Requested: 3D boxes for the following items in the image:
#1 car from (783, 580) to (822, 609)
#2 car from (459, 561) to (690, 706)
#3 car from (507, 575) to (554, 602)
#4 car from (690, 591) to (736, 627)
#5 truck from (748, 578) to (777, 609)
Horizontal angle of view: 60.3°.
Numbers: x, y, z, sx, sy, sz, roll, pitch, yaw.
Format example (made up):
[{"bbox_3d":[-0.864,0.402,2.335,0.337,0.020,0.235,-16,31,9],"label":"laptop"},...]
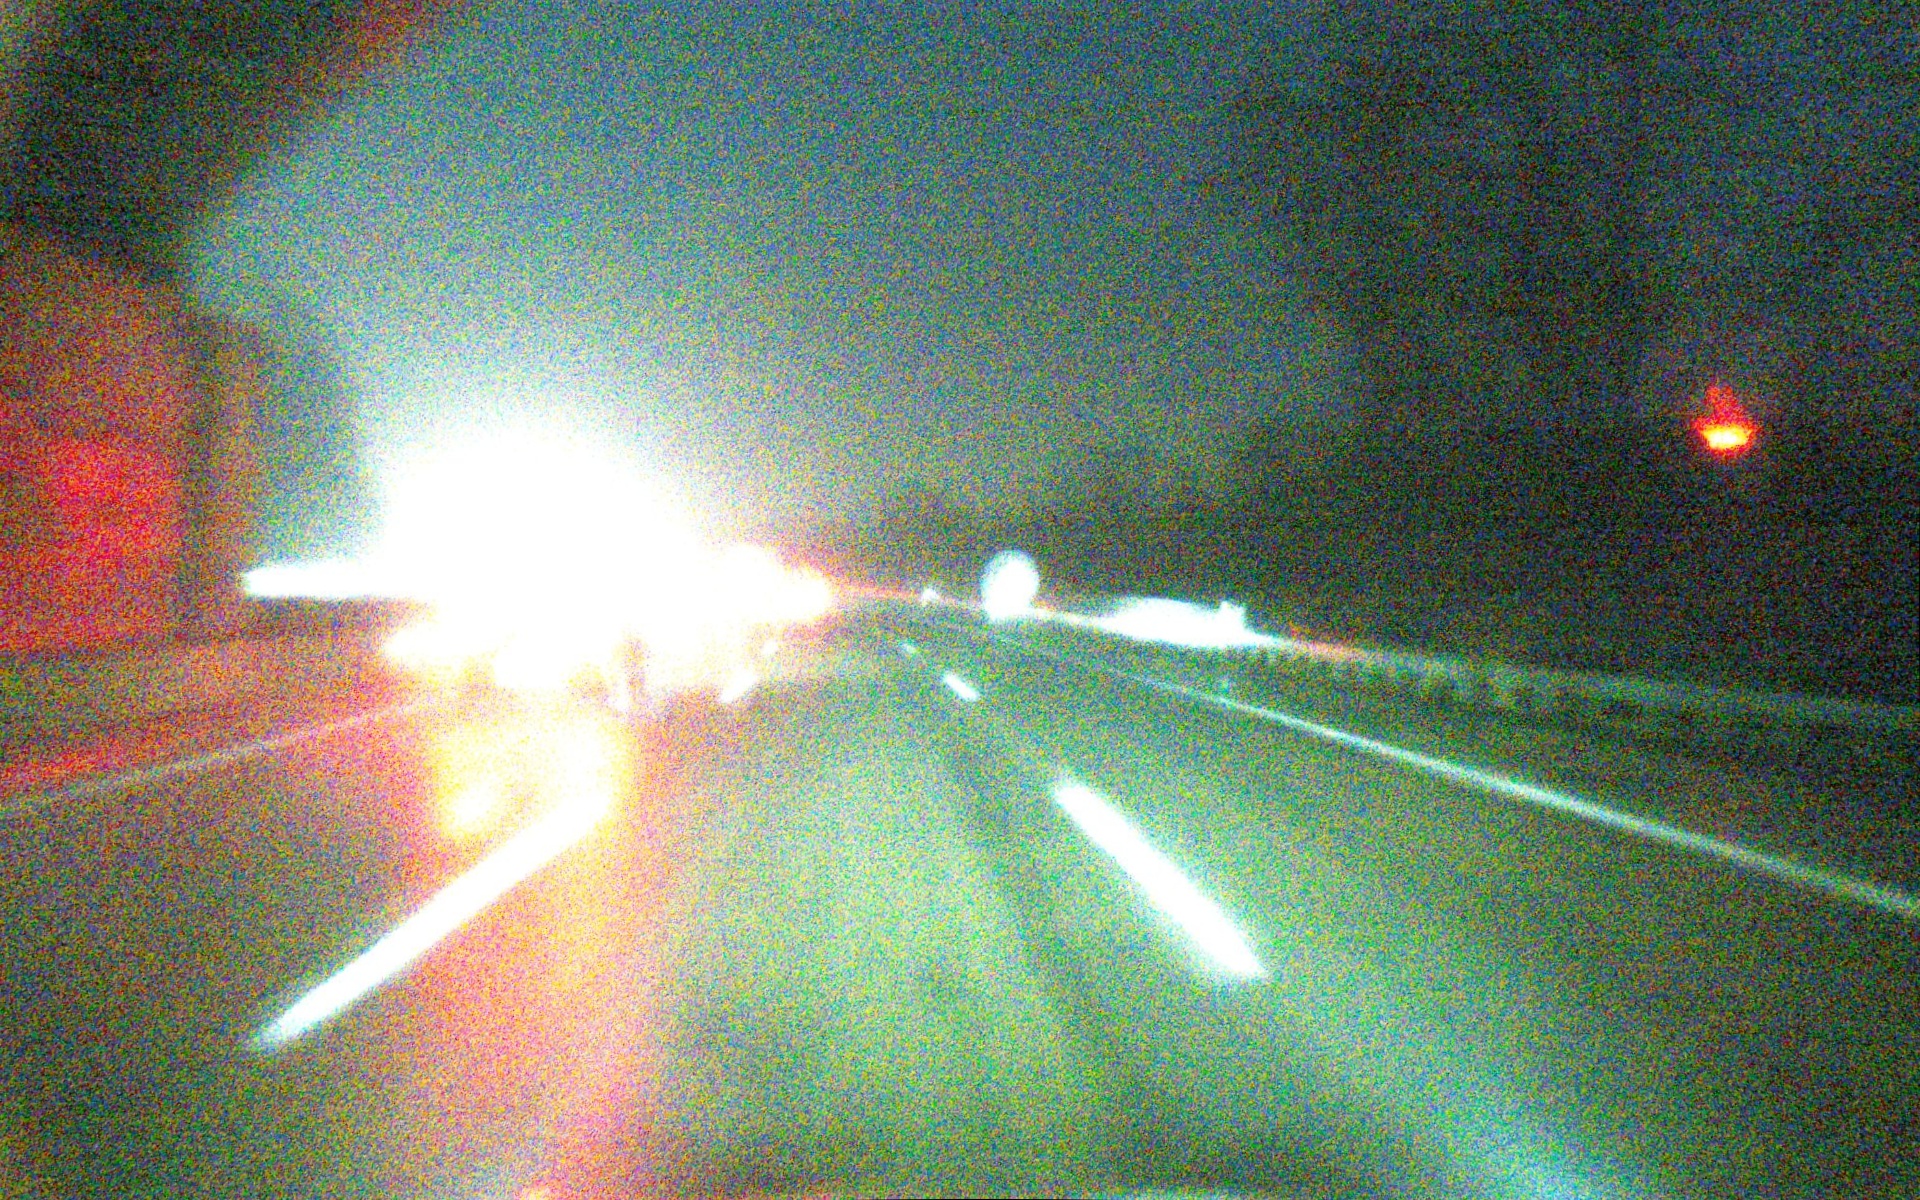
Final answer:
[{"bbox_3d":[-8.281,-0.292,87.270,1.765,1.513,3.999,0,0,-1],"label":"car"},{"bbox_3d":[-4.960,0.407,21.970,1.820,1.567,4.750,4,0,0],"label":"car"},{"bbox_3d":[-25.091,-0.686,96.699,1.955,1.519,3.996,2,0,-5],"label":"car"},{"bbox_3d":[-9.340,0.349,62.567,1.631,1.258,3.754,1,-1,-9],"label":"car"},{"bbox_3d":[-20.462,-0.642,171.087,1.961,3.096,6.436,1,-1,-16],"label":"truck"}]
